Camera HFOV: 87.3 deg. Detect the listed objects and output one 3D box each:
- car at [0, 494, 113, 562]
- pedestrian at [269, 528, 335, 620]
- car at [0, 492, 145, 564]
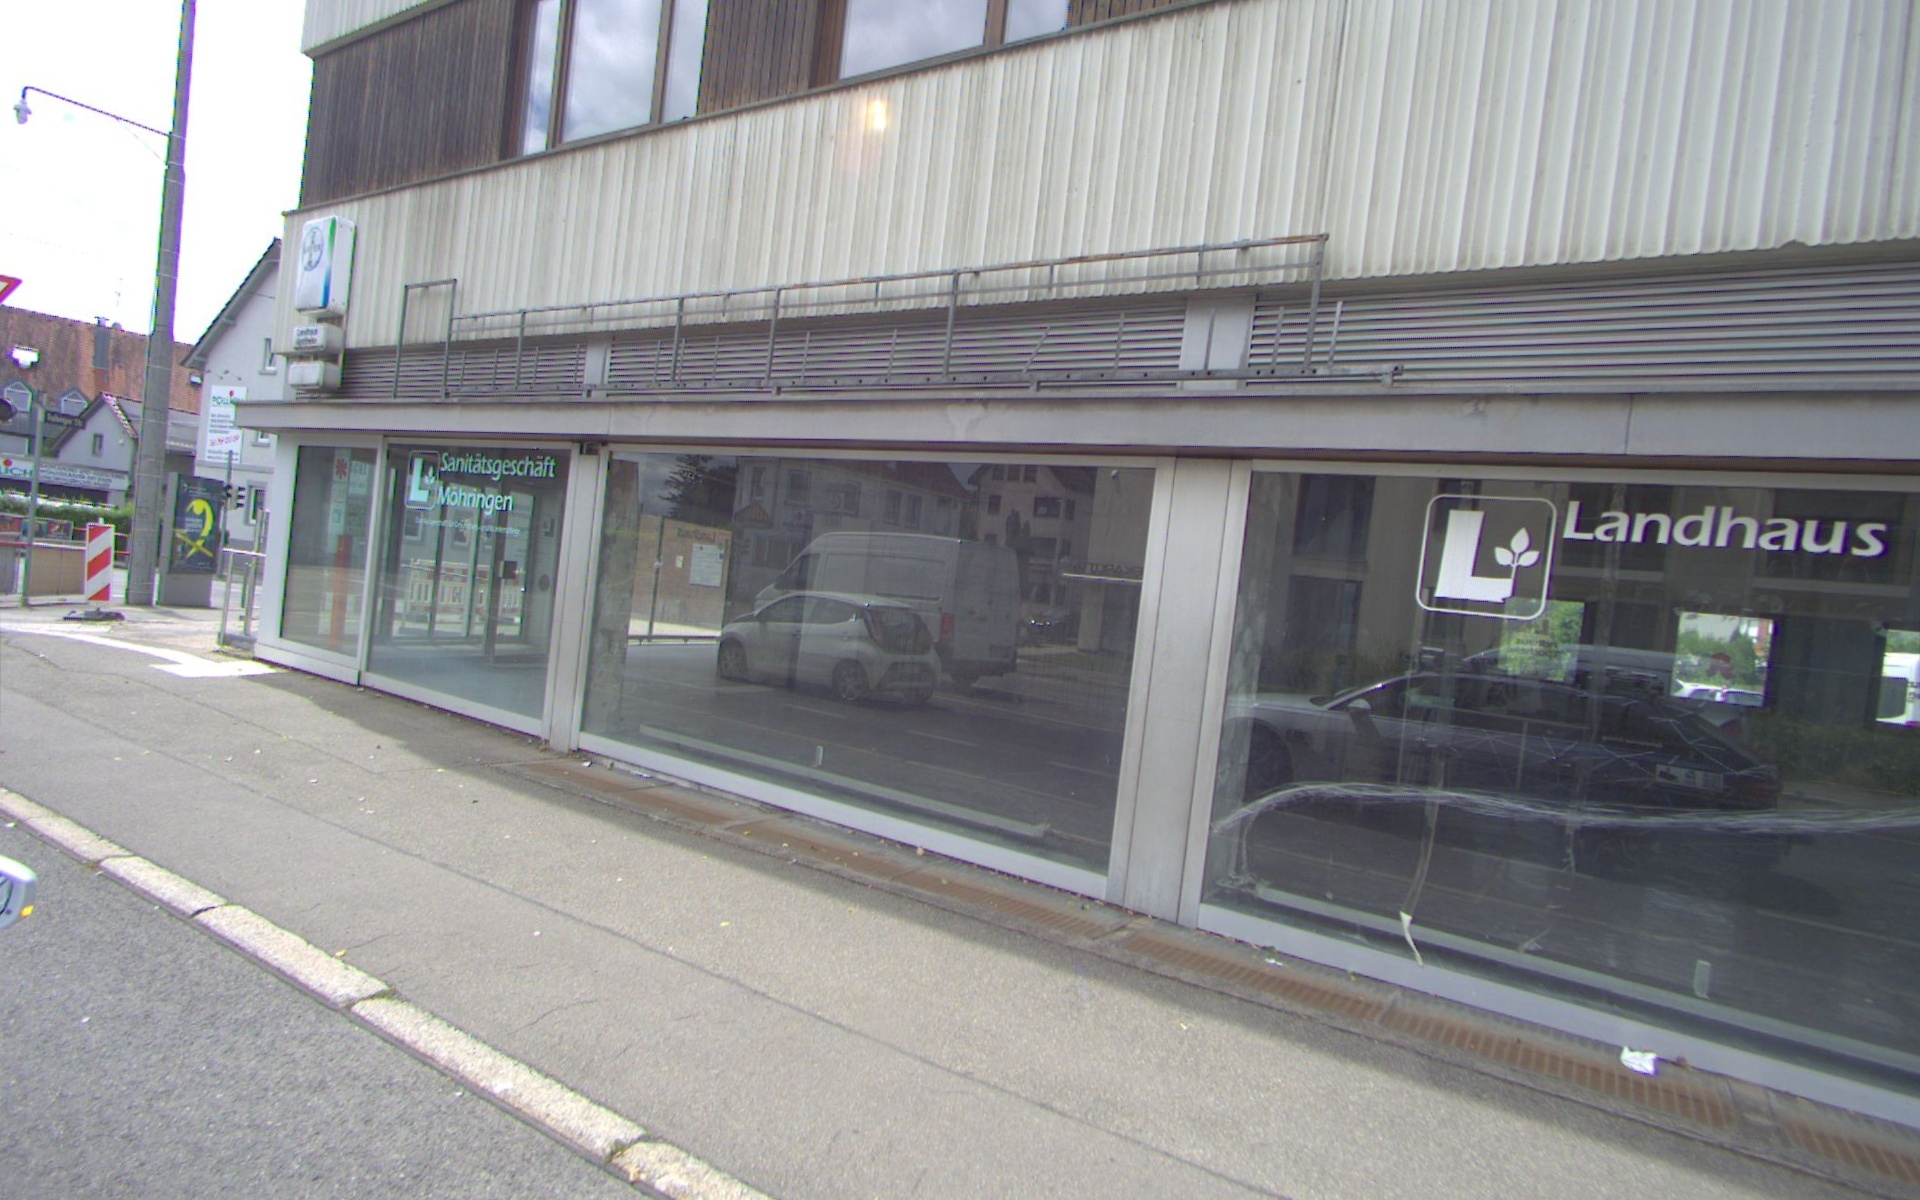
[{"bbox_3d":[-34.222,-2.726,37.069,1.964,2.037,4.000,6,-1,24],"label":"car"},{"bbox_3d":[-12.839,-0.507,19.623,0.831,1.657,0.863,7,0,-41],"label":"pedestrian"},{"bbox_3d":[-32.002,-2.561,35.855,1.964,1.971,4.000,6,-2,23],"label":"car"}]
